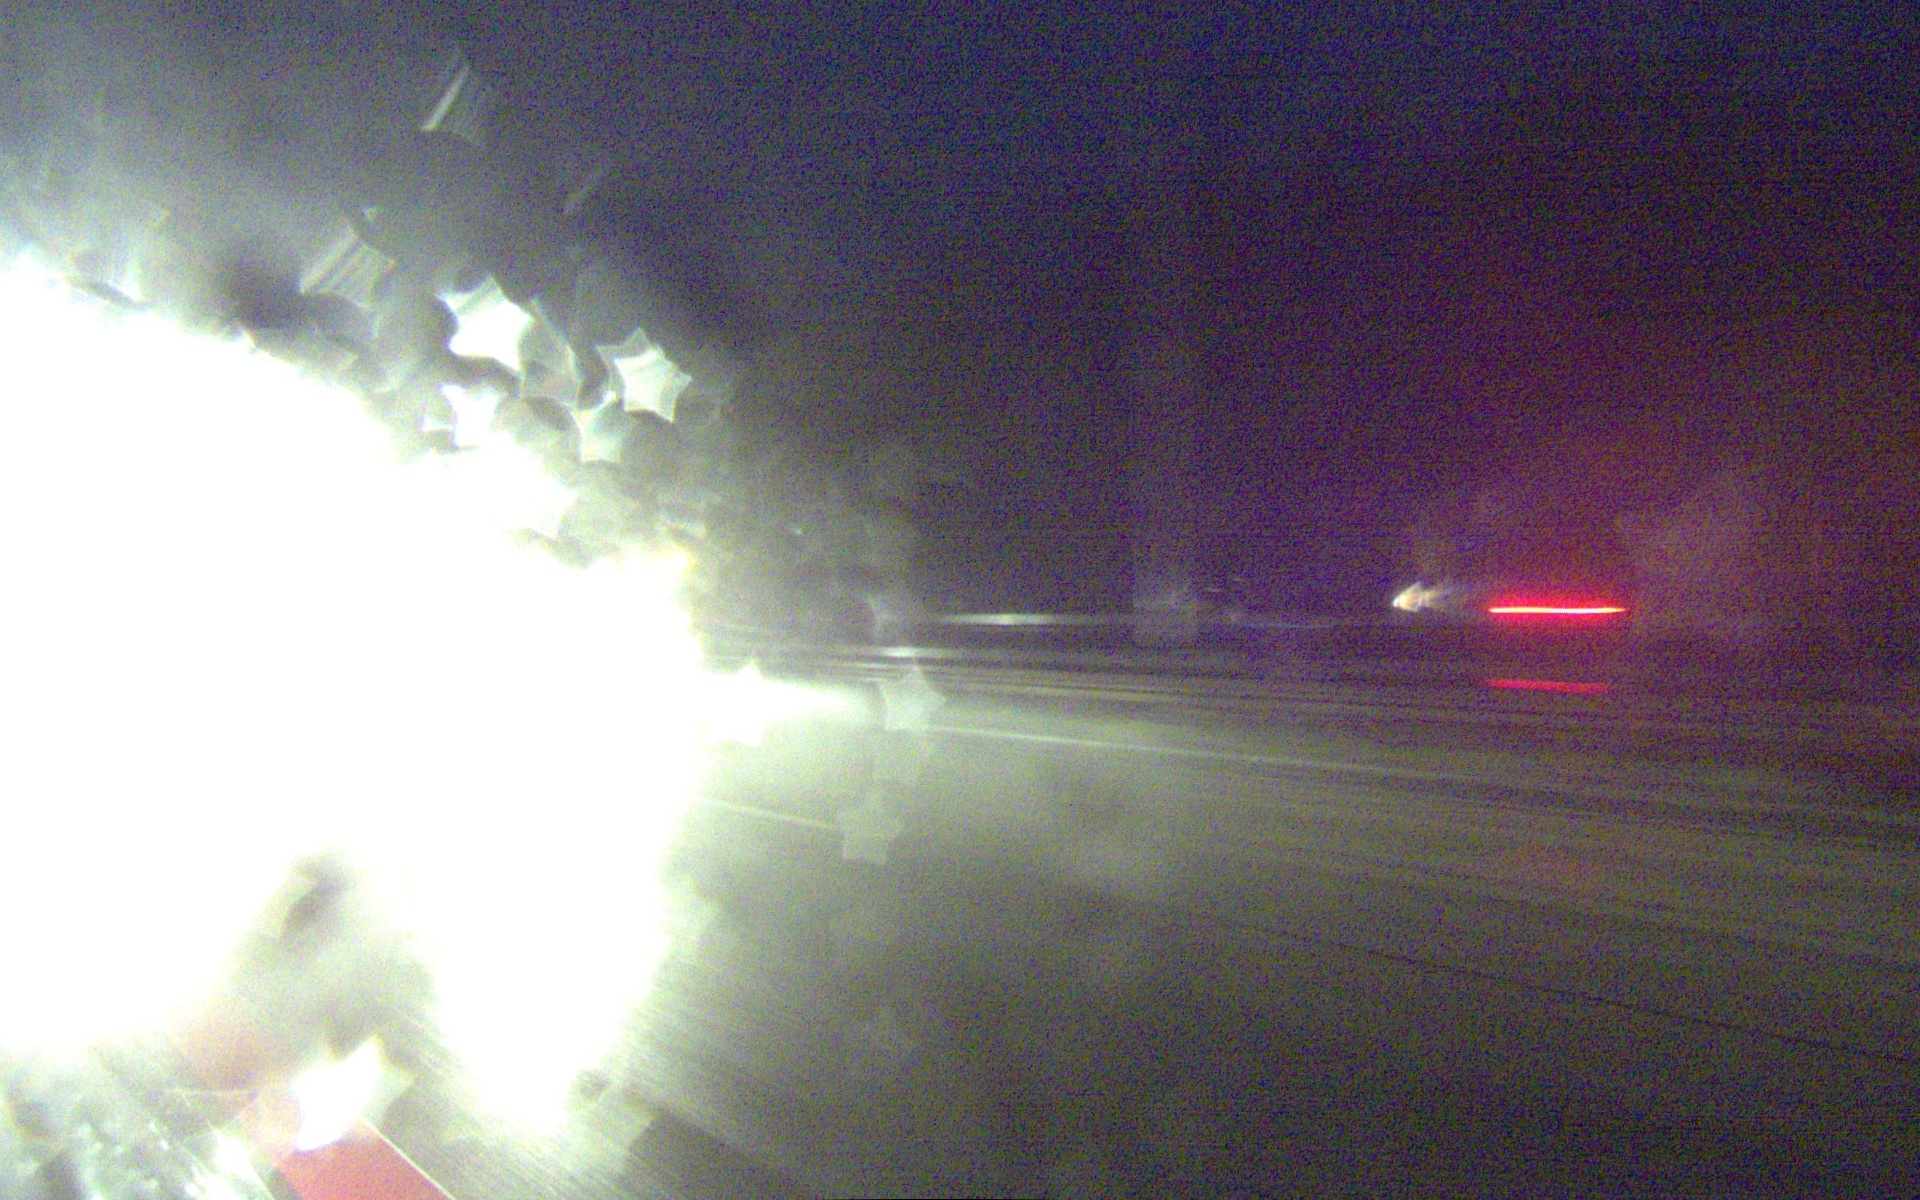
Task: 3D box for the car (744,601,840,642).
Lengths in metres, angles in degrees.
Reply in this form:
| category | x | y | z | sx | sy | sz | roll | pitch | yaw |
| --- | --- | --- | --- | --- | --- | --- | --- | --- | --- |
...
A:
| category | x | y | z | sx | sy | sz | roll | pitch | yaw |
| --- | --- | --- | --- | --- | --- | --- | --- | --- | --- |
| car | -7.537 | 0.945 | 45.342 | 3.983 | 1.726 | 1.819 | -1 | 0 | 29 |

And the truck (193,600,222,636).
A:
| category | x | y | z | sx | sy | sz | roll | pitch | yaw |
| --- | --- | --- | --- | --- | --- | --- | --- | --- | --- |
| truck | -96.140 | 2.286 | 129.285 | 2.532 | 4.437 | 5.861 | -2 | 1 | -39 |

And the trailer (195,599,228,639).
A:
| category | x | y | z | sx | sy | sz | roll | pitch | yaw |
| --- | --- | --- | --- | --- | --- | --- | --- | --- | --- |
| trailer | -91.280 | 2.246 | 123.277 | 2.543 | 4.490 | 12.515 | -2 | 1 | -39 |

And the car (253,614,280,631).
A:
| category | x | y | z | sx | sy | sz | roll | pitch | yaw |
| --- | --- | --- | --- | --- | --- | --- | --- | --- | --- |
| car | -79.061 | 2.550 | 115.390 | 1.969 | 1.741 | 4.005 | -2 | 1 | -42 |

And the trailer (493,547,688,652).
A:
| category | x | y | z | sx | sy | sz | roll | pitch | yaw |
| --- | --- | --- | --- | --- | --- | --- | --- | --- | --- |
| trailer | -14.198 | 0.018 | 38.180 | 10.450 | 3.498 | 2.580 | -1 | 0 | 44 |

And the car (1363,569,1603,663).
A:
| category | x | y | z | sx | sy | sz | roll | pitch | yaw |
| --- | --- | --- | --- | --- | --- | --- | --- | --- | --- |
| car | 8.489 | 0.224 | 16.508 | 3.239 | 1.352 | 1.588 | 0 | 2 | 39 |

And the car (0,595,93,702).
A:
| category | x | y | z | sx | sy | sz | roll | pitch | yaw |
| --- | --- | --- | --- | --- | --- | --- | --- | --- | --- |
| car | -20.233 | 1.016 | 21.973 | 4.464 | 2.121 | 1.730 | -2 | -2 | 44 |

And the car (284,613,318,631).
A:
| category | x | y | z | sx | sy | sz | roll | pitch | yaw |
| --- | --- | --- | --- | --- | --- | --- | --- | --- | --- |
| car | -62.679 | 2.073 | 96.286 | 1.876 | 1.655 | 4.199 | -2 | 1 | -45 |

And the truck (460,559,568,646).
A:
| category | x | y | z | sx | sy | sz | roll | pitch | yaw |
| --- | --- | --- | --- | --- | --- | --- | --- | --- | --- |
| truck | -18.911 | 0.095 | 42.832 | 4.643 | 3.483 | 2.575 | -1 | 0 | 44 |

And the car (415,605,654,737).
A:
| category | x | y | z | sx | sy | sz | roll | pitch | yaw |
| --- | --- | --- | --- | --- | --- | --- | --- | --- | --- |
| car | -6.029 | 0.917 | 14.141 | 3.849 | 1.587 | 1.632 | -2 | -2 | 43 |
